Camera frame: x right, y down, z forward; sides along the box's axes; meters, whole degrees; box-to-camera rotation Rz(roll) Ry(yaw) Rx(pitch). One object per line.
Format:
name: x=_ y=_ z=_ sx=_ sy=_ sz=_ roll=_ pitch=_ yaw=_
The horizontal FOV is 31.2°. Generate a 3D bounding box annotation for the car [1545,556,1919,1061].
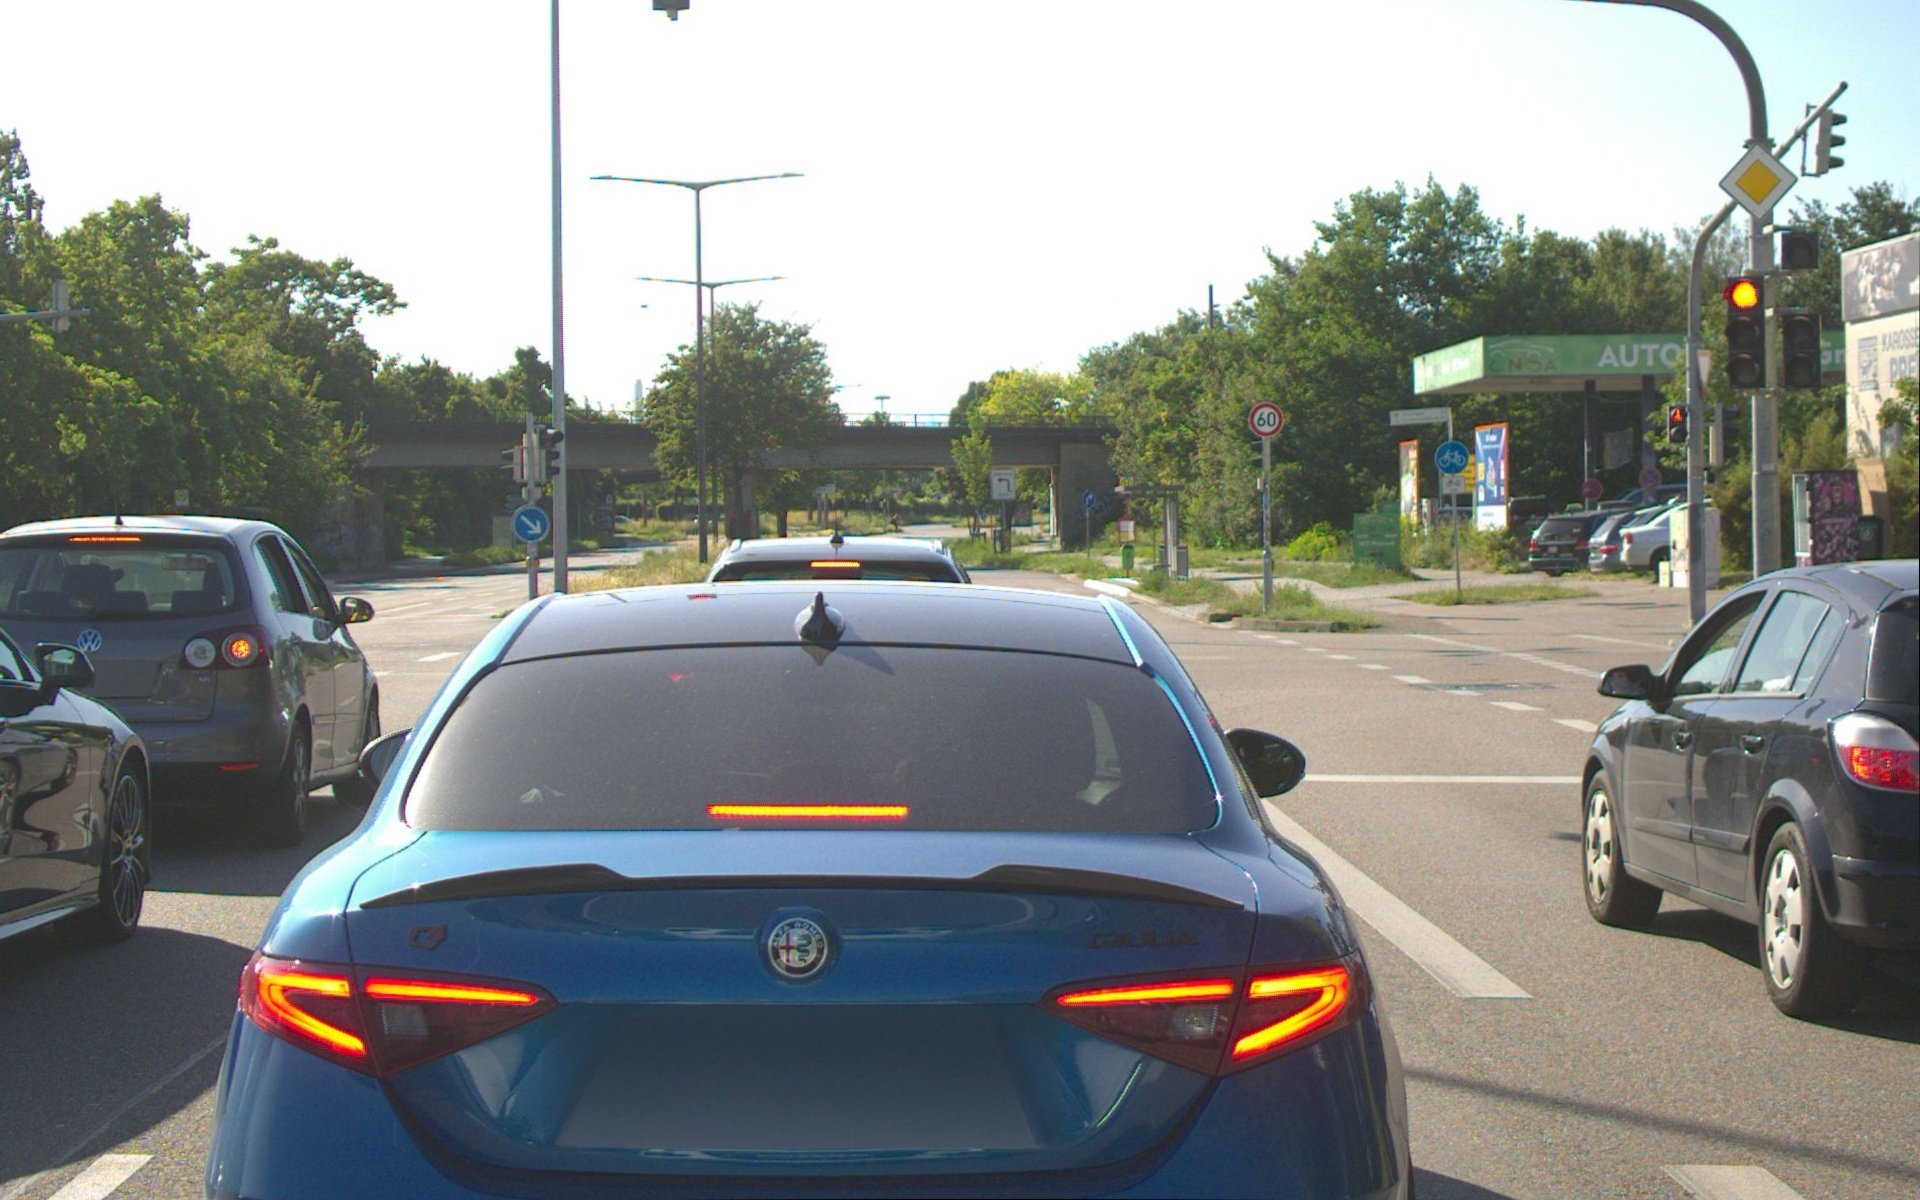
car: x=3.339 y=0.583 z=12.104 sx=1.734 sy=1.437 sz=4.372 roll=1 pitch=1 yaw=-1

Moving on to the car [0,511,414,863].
car: x=-3.958 y=0.364 z=17.430 sx=1.812 sy=1.546 sz=4.354 roll=1 pitch=1 yaw=-2

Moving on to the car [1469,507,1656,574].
car: x=14.602 y=-1.427 z=83.388 sx=3.986 sy=1.547 sz=2.001 roll=1 pitch=1 yaw=-18

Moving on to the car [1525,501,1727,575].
car: x=14.449 y=-1.339 z=74.702 sx=3.987 sy=1.547 sz=2.000 roll=1 pitch=0 yaw=1

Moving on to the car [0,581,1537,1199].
car: x=-0.216 y=0.696 z=6.130 sx=1.910 sy=1.418 sz=3.719 roll=1 pitch=1 yaw=1

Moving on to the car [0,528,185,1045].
car: x=-3.784 y=0.546 z=10.686 sx=1.812 sy=1.546 sz=4.544 roll=0 pitch=1 yaw=-1

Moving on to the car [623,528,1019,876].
car: x=-0.574 y=0.427 z=16.861 sx=1.704 sy=1.492 sz=3.719 roll=1 pitch=1 yaw=1
